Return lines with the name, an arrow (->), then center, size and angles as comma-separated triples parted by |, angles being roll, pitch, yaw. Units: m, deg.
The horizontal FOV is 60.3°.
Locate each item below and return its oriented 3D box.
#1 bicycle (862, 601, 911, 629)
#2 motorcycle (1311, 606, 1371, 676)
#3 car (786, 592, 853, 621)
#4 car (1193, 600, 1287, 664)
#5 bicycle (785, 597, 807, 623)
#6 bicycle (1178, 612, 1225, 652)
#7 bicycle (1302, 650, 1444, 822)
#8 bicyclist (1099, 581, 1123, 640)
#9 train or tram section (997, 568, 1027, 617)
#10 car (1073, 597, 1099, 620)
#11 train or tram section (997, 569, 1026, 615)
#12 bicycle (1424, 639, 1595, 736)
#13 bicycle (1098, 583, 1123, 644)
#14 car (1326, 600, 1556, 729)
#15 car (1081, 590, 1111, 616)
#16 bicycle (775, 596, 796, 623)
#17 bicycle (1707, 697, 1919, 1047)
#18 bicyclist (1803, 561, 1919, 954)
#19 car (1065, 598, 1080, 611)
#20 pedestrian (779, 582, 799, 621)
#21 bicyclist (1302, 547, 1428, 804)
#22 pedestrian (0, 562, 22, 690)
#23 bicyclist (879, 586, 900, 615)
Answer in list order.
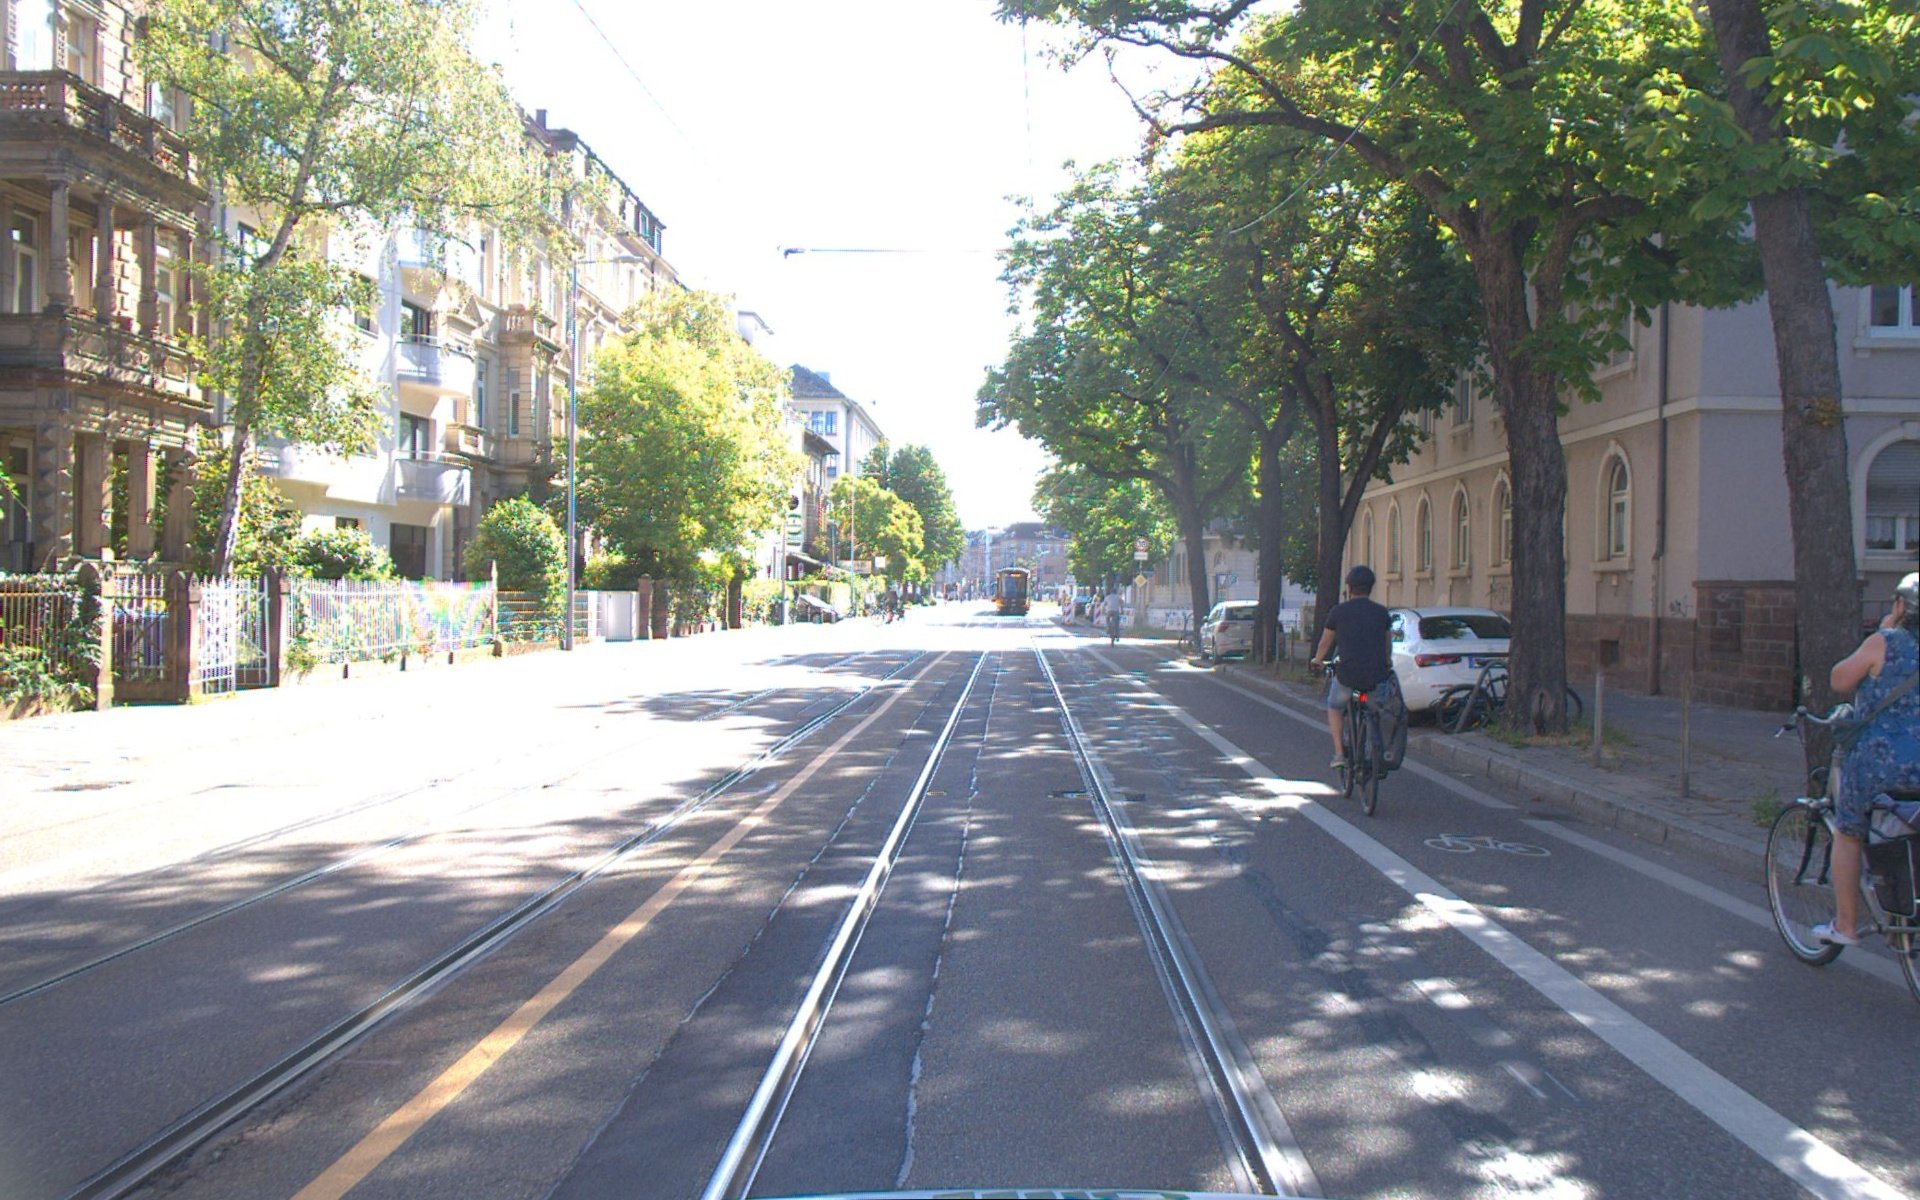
bicycle -> -3.361, 0.686, 75.585 | 2.094, 1.191, 0.803 | 2, 0, 17
motorcycle -> 7.342, 0.768, 31.957 | 0.695, 1.265, 2.185 | 0, 0, 1
car -> -7.176, 0.357, 84.395 | 1.742, 1.445, 3.530 | 2, -1, -39
car -> 6.802, 0.752, 40.561 | 1.712, 1.445, 4.001 | -1, 0, 1
bicycle -> -7.213, 0.439, 72.653 | 0.622, 1.088, 1.824 | 2, 0, -16
bicycle -> 6.738, 0.894, 46.090 | 1.243, 1.042, 0.704 | 2, -1, 10
bicycle -> 3.116, 0.995, 12.642 | 0.677, 1.132, 1.719 | 2, 0, 2
bicyclist -> 4.815, 0.334, 52.807 | 0.632, 1.827, 0.956 | 2, 0, 1
train or tram section -> 3.887, -0.584, 123.959 | 2.109, 3.491, 6.612 | 2, 0, 2
car -> 9.383, 0.630, 123.590 | 1.718, 1.579, 3.678 | 2, 0, 2
train or tram section -> 4.042, -0.637, 130.595 | 2.109, 3.491, 6.612 | 2, 0, 2
bicycle -> 6.333, 1.003, 19.106 | 1.755, 1.037, 0.620 | -2, 0, 1
bicycle -> 4.843, 0.421, 53.364 | 0.649, 1.891, 2.261 | 2, 0, 3
car -> 6.211, 0.760, 21.893 | 1.595, 1.461, 4.664 | 0, 1, -1
car -> 8.796, 0.176, 107.074 | 1.718, 1.579, 3.678 | 2, 0, 2
bicycle -> -7.556, 0.397, 71.645 | 0.622, 1.088, 1.825 | 2, 0, -15
bicycle -> 3.827, 1.042, 6.786 | 0.677, 1.132, 1.918 | 2, 0, 2
bicyclist -> 3.848, 0.606, 6.599 | 0.622, 1.493, 0.616 | 2, 0, 2
car -> 15.101, 0.558, 221.355 | 1.833, 1.691, 3.515 | 2, 0, 1
pedestrian -> -7.711, 0.055, 74.772 | 0.754, 1.742, 0.669 | 2, 0, 2
bicyclist -> 3.097, 0.558, 12.714 | 0.712, 1.880, 0.837 | 2, 0, 1
pedestrian -> -12.991, 0.334, 22.103 | 0.503, 1.702, 0.607 | 2, 0, 1
bicyclist -> -3.220, 0.018, 75.537 | 0.756, 1.314, 0.733 | 2, 0, 18
